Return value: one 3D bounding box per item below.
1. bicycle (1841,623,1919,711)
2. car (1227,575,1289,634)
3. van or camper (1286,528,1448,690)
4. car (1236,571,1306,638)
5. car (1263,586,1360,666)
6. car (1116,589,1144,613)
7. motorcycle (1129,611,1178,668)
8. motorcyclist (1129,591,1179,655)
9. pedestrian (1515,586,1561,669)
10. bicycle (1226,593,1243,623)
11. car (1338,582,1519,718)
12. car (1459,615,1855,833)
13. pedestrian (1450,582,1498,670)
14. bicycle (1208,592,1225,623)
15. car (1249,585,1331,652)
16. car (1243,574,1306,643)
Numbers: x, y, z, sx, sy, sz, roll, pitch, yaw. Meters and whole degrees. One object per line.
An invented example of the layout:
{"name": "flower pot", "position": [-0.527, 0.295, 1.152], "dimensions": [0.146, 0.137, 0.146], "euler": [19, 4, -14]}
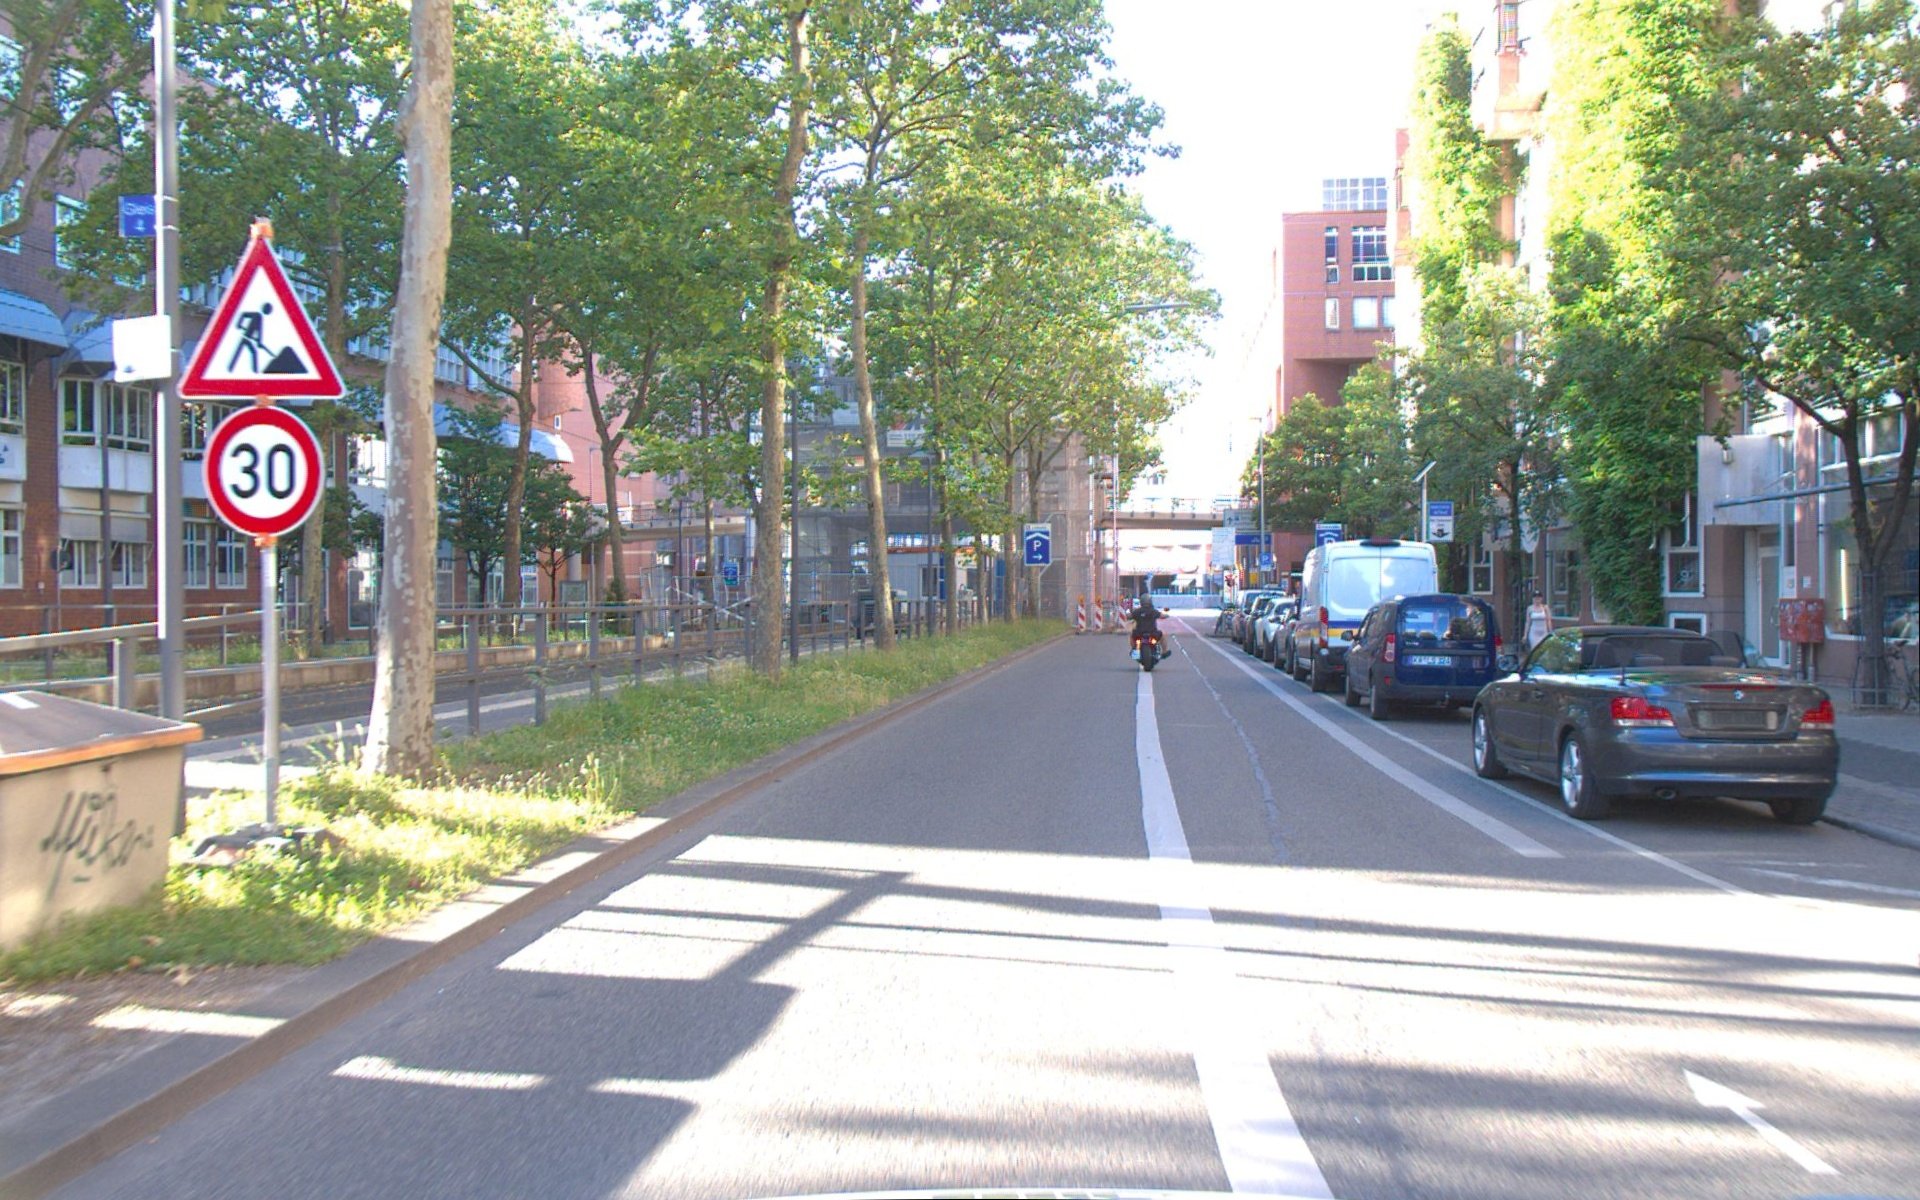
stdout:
{"name": "bicycle", "position": [12.147, 0.846, 21.255], "dimensions": [0.605, 1.038, 1.913], "euler": [0, 1, -1]}
{"name": "car", "position": [10.599, 0.133, 59.049], "dimensions": [1.796, 2.049, 4.391], "euler": [0, 1, 5]}
{"name": "van or camper", "position": [7.098, 0.111, 29.418], "dimensions": [2.005, 2.585, 5.777], "euler": [0, 1, 6]}
{"name": "car", "position": [9.877, 0.106, 52.858], "dimensions": [1.796, 2.049, 4.391], "euler": [0, 1, 5]}
{"name": "car", "position": [7.660, 0.528, 36.327], "dimensions": [1.586, 1.631, 3.776], "euler": [0, 1, 4]}
{"name": "car", "position": [12.907, 0.060, 125.748], "dimensions": [1.813, 1.747, 4.002], "euler": [0, 1, 2]}
{"name": "motorcycle", "position": [4.081, 0.819, 34.852], "dimensions": [0.996, 1.116, 2.009], "euler": [0, 1, 7]}
{"name": "motorcyclist", "position": [4.102, 0.484, 34.887], "dimensions": [0.990, 1.285, 0.774], "euler": [2, 1, 8]}
{"name": "pedestrian", "position": [10.466, 0.481, 29.954], "dimensions": [0.749, 1.470, 0.780], "euler": [1, 0, 21]}
{"name": "bicycle", "position": [11.711, 0.322, 70.561], "dimensions": [0.650, 1.256, 2.230], "euler": [0, 1, 7]}
{"name": "car", "position": [6.251, 0.592, 22.534], "dimensions": [1.586, 1.647, 4.488], "euler": [0, 1, 5]}
{"name": "car", "position": [5.211, 0.829, 12.986], "dimensions": [1.586, 1.325, 4.314], "euler": [0, 1, 4]}
{"name": "pedestrian", "position": [9.844, 0.485, 31.678], "dimensions": [0.747, 1.673, 0.547], "euler": [0, 0, -2]}
{"name": "bicycle", "position": [10.950, 0.312, 70.679], "dimensions": [0.650, 1.256, 2.230], "euler": [0, 1, 7]}
{"name": "car", "position": [8.461, 0.428, 42.646], "dimensions": [1.586, 1.638, 3.776], "euler": [0, 1, 4]}
{"name": "car", "position": [8.910, 0.213, 47.056], "dimensions": [1.585, 1.898, 3.778], "euler": [0, 1, 8]}
